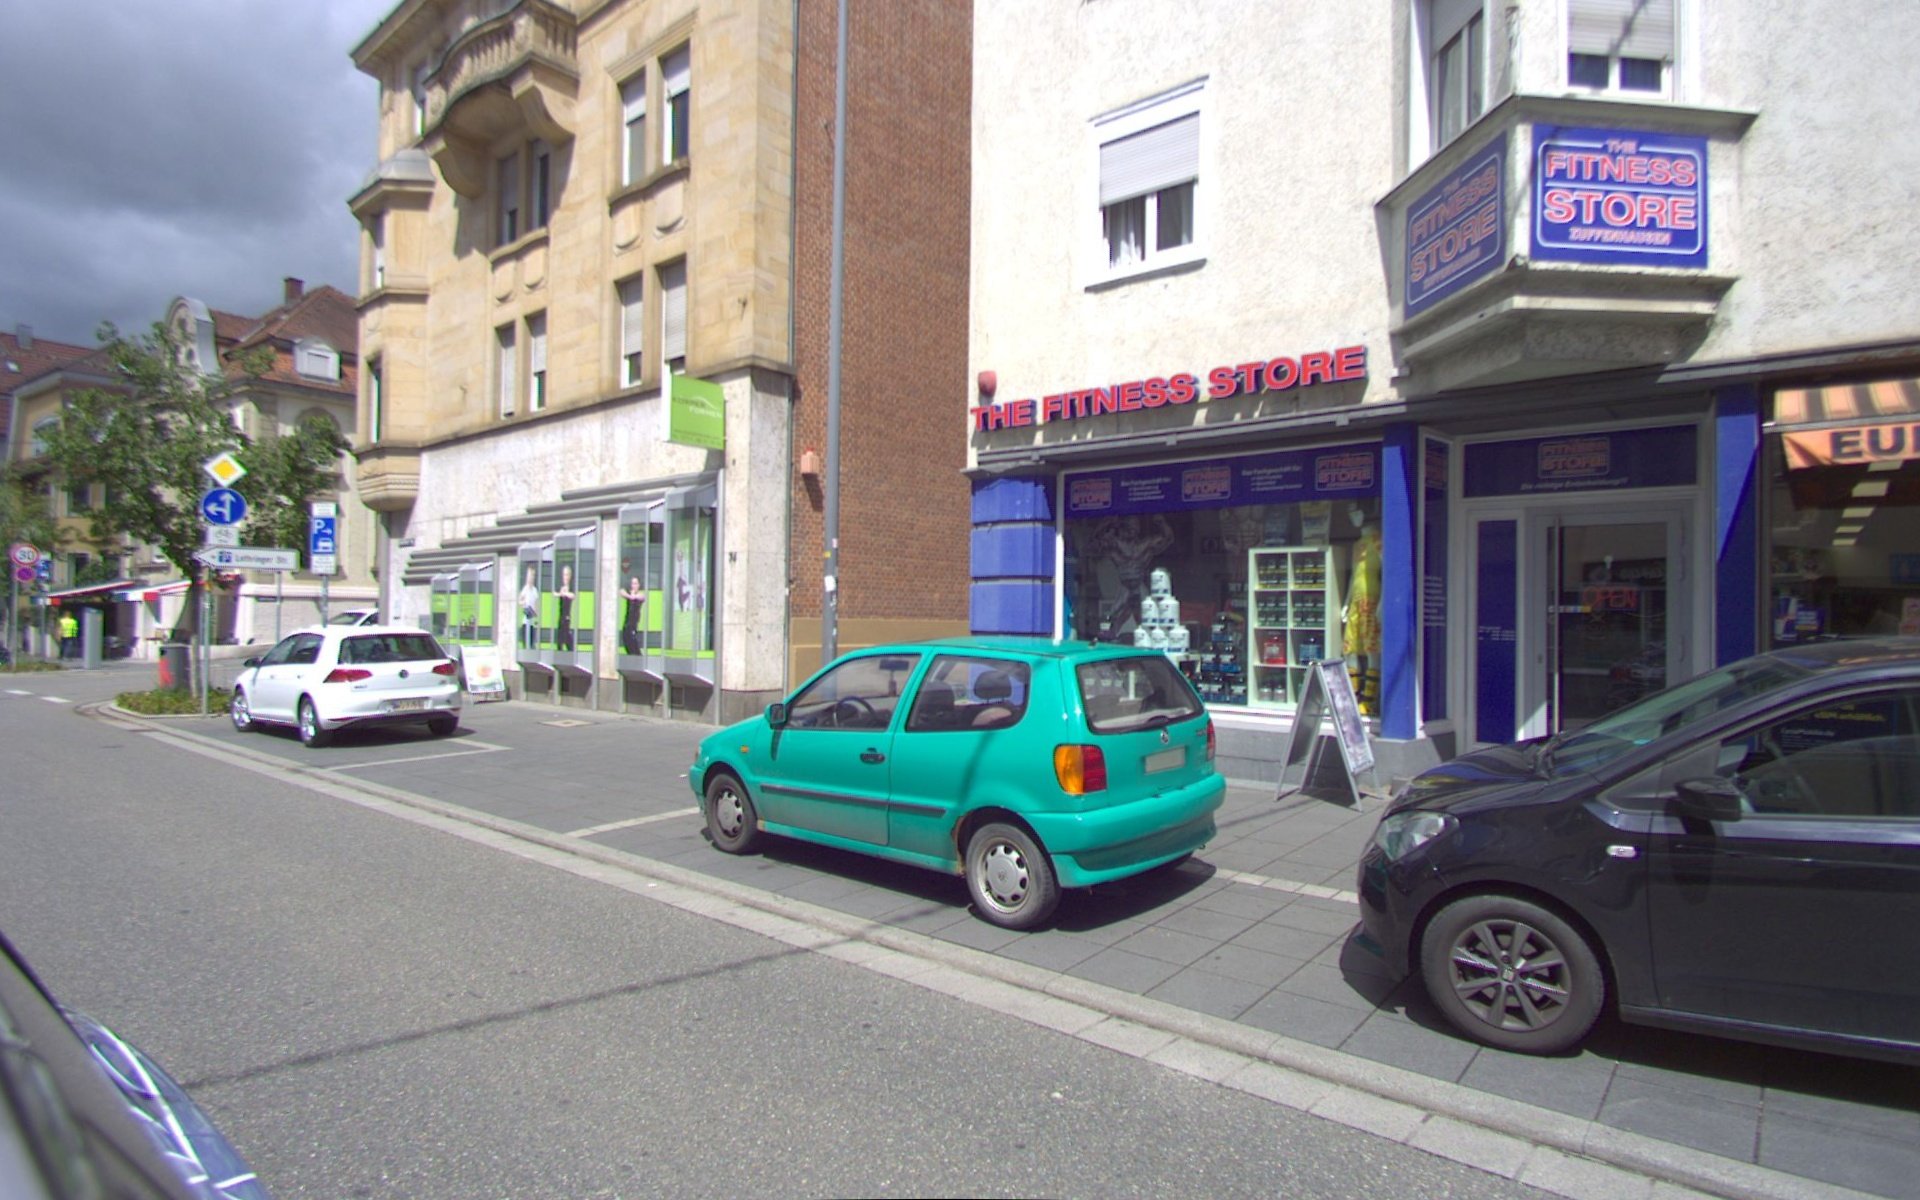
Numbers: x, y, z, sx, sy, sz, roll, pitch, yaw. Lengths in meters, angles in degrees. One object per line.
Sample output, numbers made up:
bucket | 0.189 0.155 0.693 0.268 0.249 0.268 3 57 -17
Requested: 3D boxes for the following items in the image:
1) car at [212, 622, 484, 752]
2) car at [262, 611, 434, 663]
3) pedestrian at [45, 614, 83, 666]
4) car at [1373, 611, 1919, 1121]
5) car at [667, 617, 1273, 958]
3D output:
car | -8.318 1.044 13.636 4.031 1.408 1.828 0 0 38
car | -19.166 1.116 31.926 1.985 1.391 4.359 0 1 20
pedestrian | -31.449 1.390 35.535 0.810 1.769 0.792 0 0 32
car | 3.443 0.785 3.481 3.545 1.457 1.585 0 0 32
car | -0.138 0.857 6.278 3.668 1.425 1.569 0 0 43
